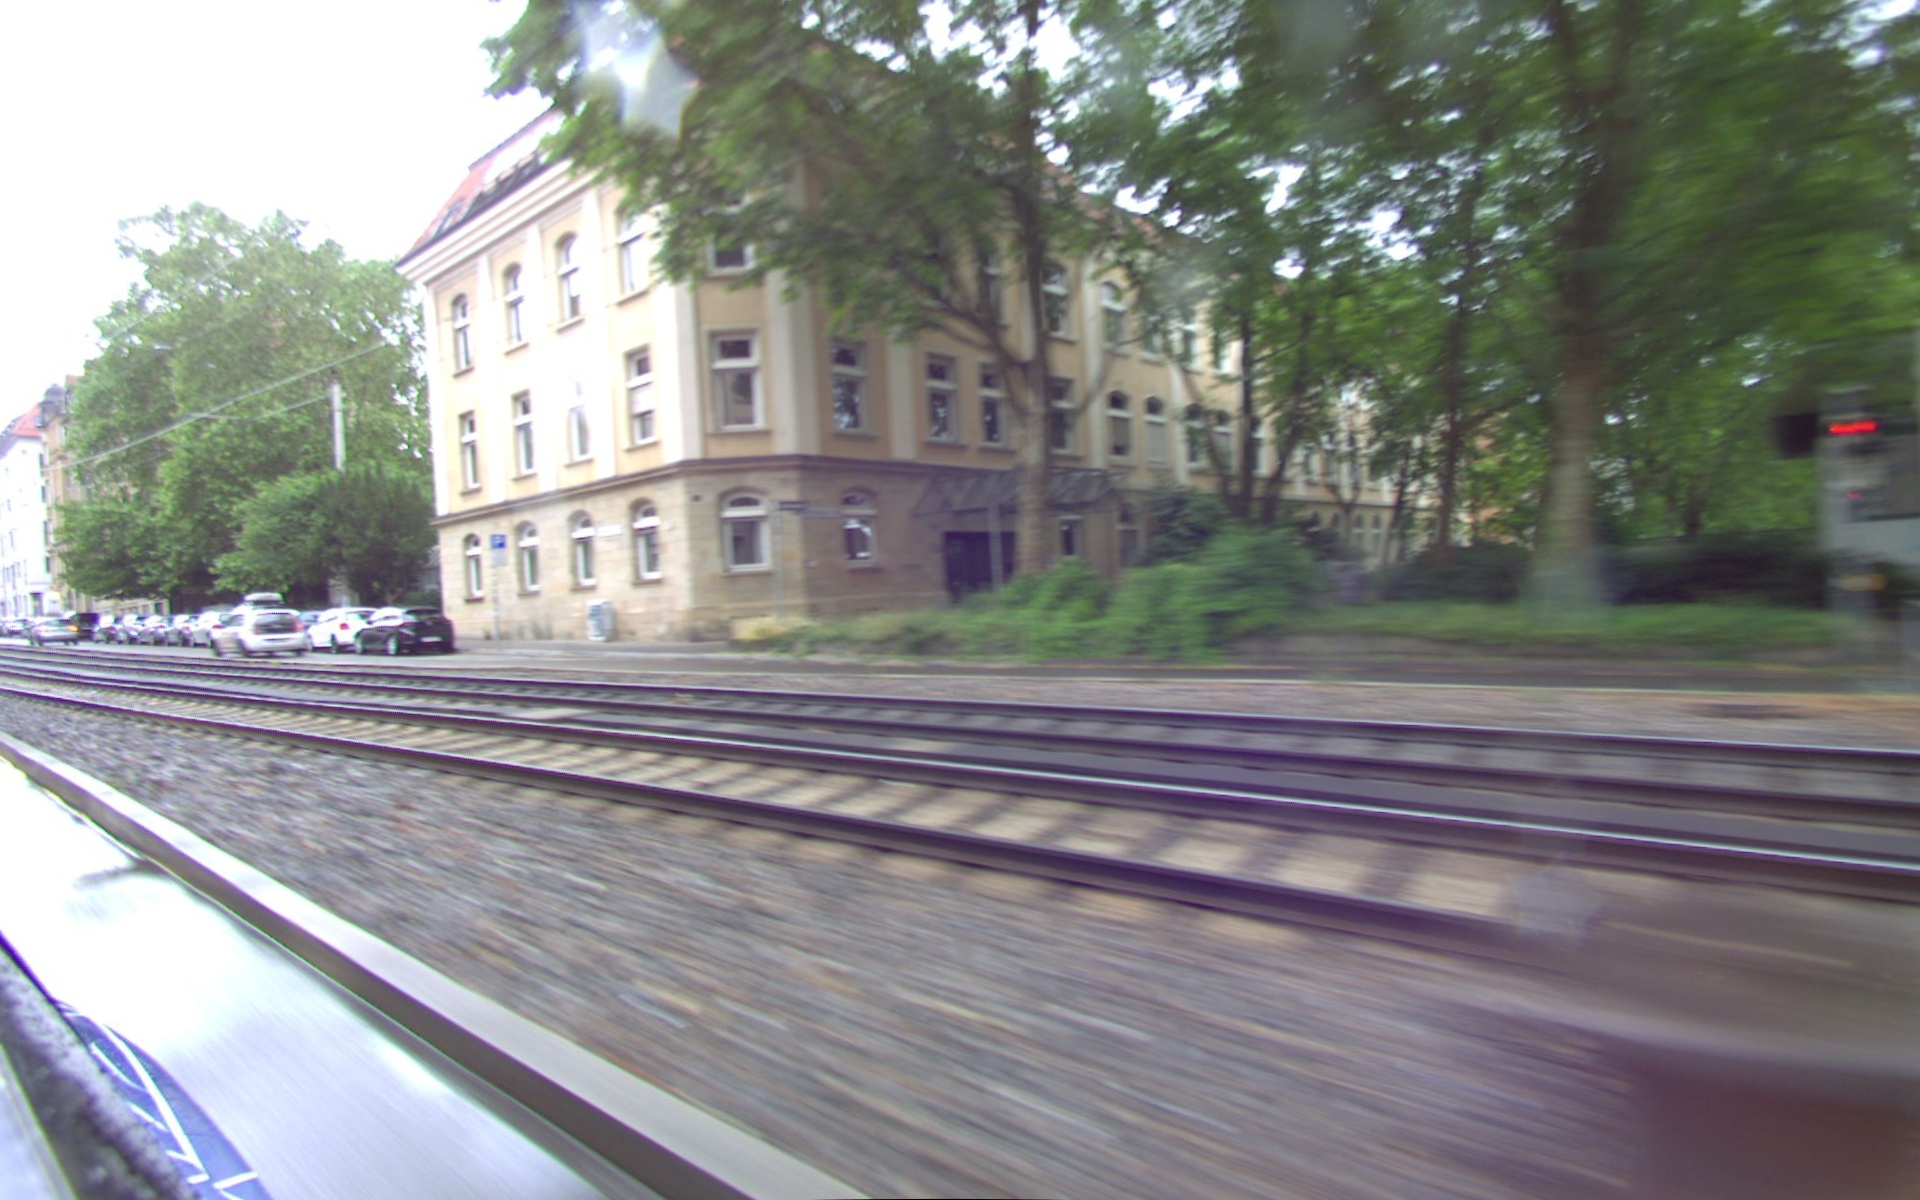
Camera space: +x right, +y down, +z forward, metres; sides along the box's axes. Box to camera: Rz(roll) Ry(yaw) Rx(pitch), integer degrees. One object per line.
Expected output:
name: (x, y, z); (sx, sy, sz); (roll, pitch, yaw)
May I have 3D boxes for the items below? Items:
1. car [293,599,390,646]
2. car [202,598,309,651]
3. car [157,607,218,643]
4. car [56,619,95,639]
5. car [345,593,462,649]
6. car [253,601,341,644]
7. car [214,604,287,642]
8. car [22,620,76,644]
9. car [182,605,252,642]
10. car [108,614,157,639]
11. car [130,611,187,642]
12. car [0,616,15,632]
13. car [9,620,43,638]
car: (-20.378, 0.745, 33.312); (3.513, 1.411, 1.625); (-2, 1, 39)
car: (-21.792, 0.751, 31.291); (3.306, 1.488, 1.668); (-1, 2, 36)
car: (-35.076, 1.146, 45.943); (3.310, 1.520, 1.386); (-2, 1, 38)
car: (-55.767, 1.818, 63.804); (2.906, 1.175, 1.310); (-2, 1, 39)
car: (-16.809, 0.608, 30.528); (3.805, 1.488, 1.868); (-1, 2, 41)
car: (-23.873, 0.815, 36.409); (3.513, 1.411, 1.625); (-2, 1, 39)
car: (-27.957, 0.911, 39.851); (3.278, 1.411, 1.466); (-2, 1, 38)
car: (-47.475, 1.663, 52.742); (2.905, 1.175, 1.553); (-2, 1, 37)
car: (-31.578, 0.989, 42.988); (3.495, 1.460, 1.466); (-2, 1, 38)
car: (-42.567, 1.365, 52.037); (2.906, 1.175, 1.310); (-2, 1, 38)
car: (-38.785, 1.274, 48.929); (3.310, 1.389, 1.386); (-2, 1, 38)
car: (-77.220, 1.958, 81.478); (2.907, 1.175, 1.310); (-2, 1, 39)
car: (-65.999, 2.072, 71.494); (2.906, 1.175, 1.310); (-2, 1, 38)
